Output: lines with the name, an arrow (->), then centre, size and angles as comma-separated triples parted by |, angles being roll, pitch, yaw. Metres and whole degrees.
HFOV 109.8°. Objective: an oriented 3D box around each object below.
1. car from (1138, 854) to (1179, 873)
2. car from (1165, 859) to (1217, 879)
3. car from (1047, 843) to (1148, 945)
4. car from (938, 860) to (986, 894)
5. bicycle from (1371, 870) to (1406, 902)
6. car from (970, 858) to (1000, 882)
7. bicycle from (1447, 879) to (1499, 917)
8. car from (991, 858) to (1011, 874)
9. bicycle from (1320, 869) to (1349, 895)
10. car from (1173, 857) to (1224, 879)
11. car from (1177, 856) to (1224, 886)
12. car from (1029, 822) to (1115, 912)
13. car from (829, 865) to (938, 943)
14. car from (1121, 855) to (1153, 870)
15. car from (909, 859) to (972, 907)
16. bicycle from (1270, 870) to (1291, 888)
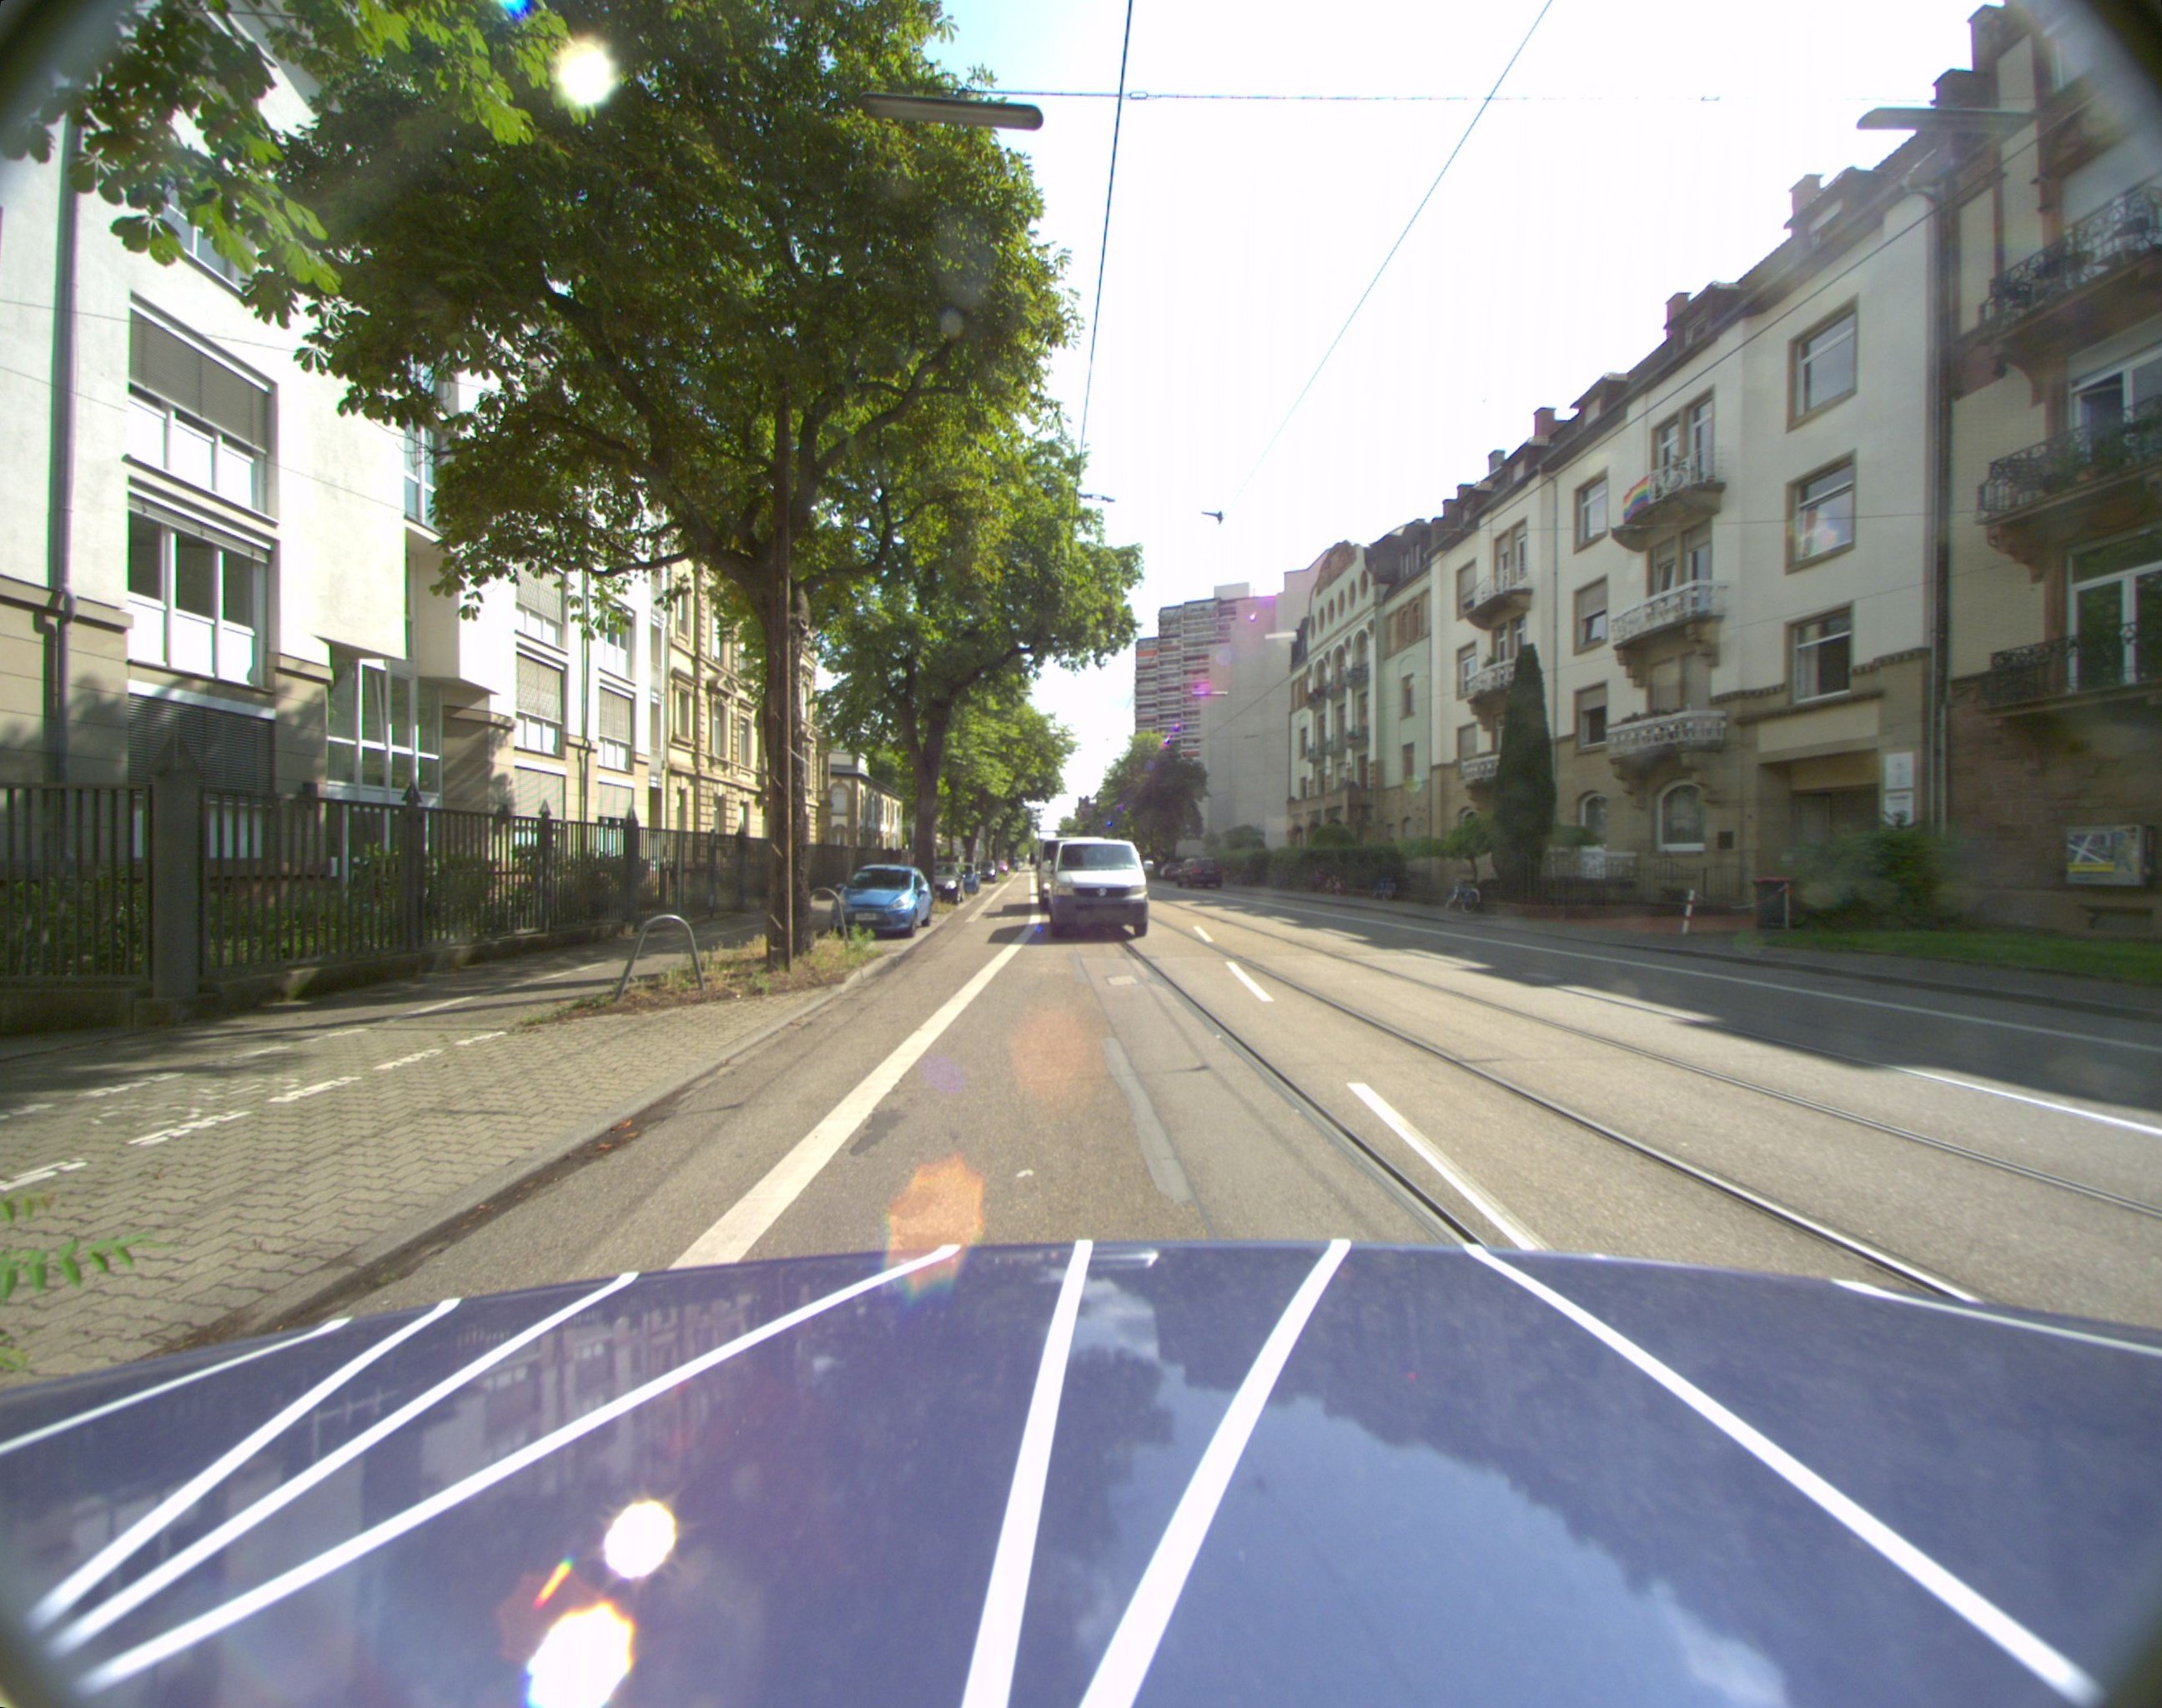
car -> 7.791, 0.953, 76.655 | 3.997, 1.914, 1.831 | 0, 0, -1
car -> 8.738, 1.188, 60.432 | 3.890, 1.527, 1.634 | 0, 0, -2
car -> 0.307, 0.737, 16.354 | 1.831, 1.855, 4.845 | -1, 0, 0
car -> -5.456, 1.022, 35.168 | 1.724, 1.443, 3.925 | 2, 0, -3
bicycle -> 10.968, 1.120, 27.154 | 0.539, 1.024, 1.873 | 0, 1, 1
car -> -6.794, 1.120, 54.031 | 1.774, 1.522, 4.199 | 2, 0, -3
bicycle -> 11.193, 1.231, 21.763 | 0.524, 0.901, 2.067 | 0, 2, 4
car -> -8.066, 1.185, 76.862 | 1.774, 1.563, 4.199 | 2, 0, -3
bicycle -> 10.563, 1.167, 31.713 | 0.587, 0.980, 1.873 | 0, 1, 1
car -> 8.871, 1.015, 57.506 | 3.631, 1.630, 1.610 | 0, 0, -3
car -> 6.925, 0.957, 44.435 | 1.797, 1.701, 4.330 | 0, 0, -4
car -> -0.449, 0.382, 24.650 | 2.169, 2.572, 5.660 | 0, 0, -7
car -> -4.223, 1.012, 16.777 | 1.642, 1.446, 3.697 | 2, 0, -4
car -> 6.583, 1.004, 89.633 | 3.542, 1.733, 1.635 | 0, 0, -1
car -> -4.923, 0.983, 27.057 | 1.644, 1.499, 3.622 | 2, 0, -2
bicycle -> 9.903, 1.236, 37.764 | 0.587, 0.792, 1.873 | -2, 1, 1
